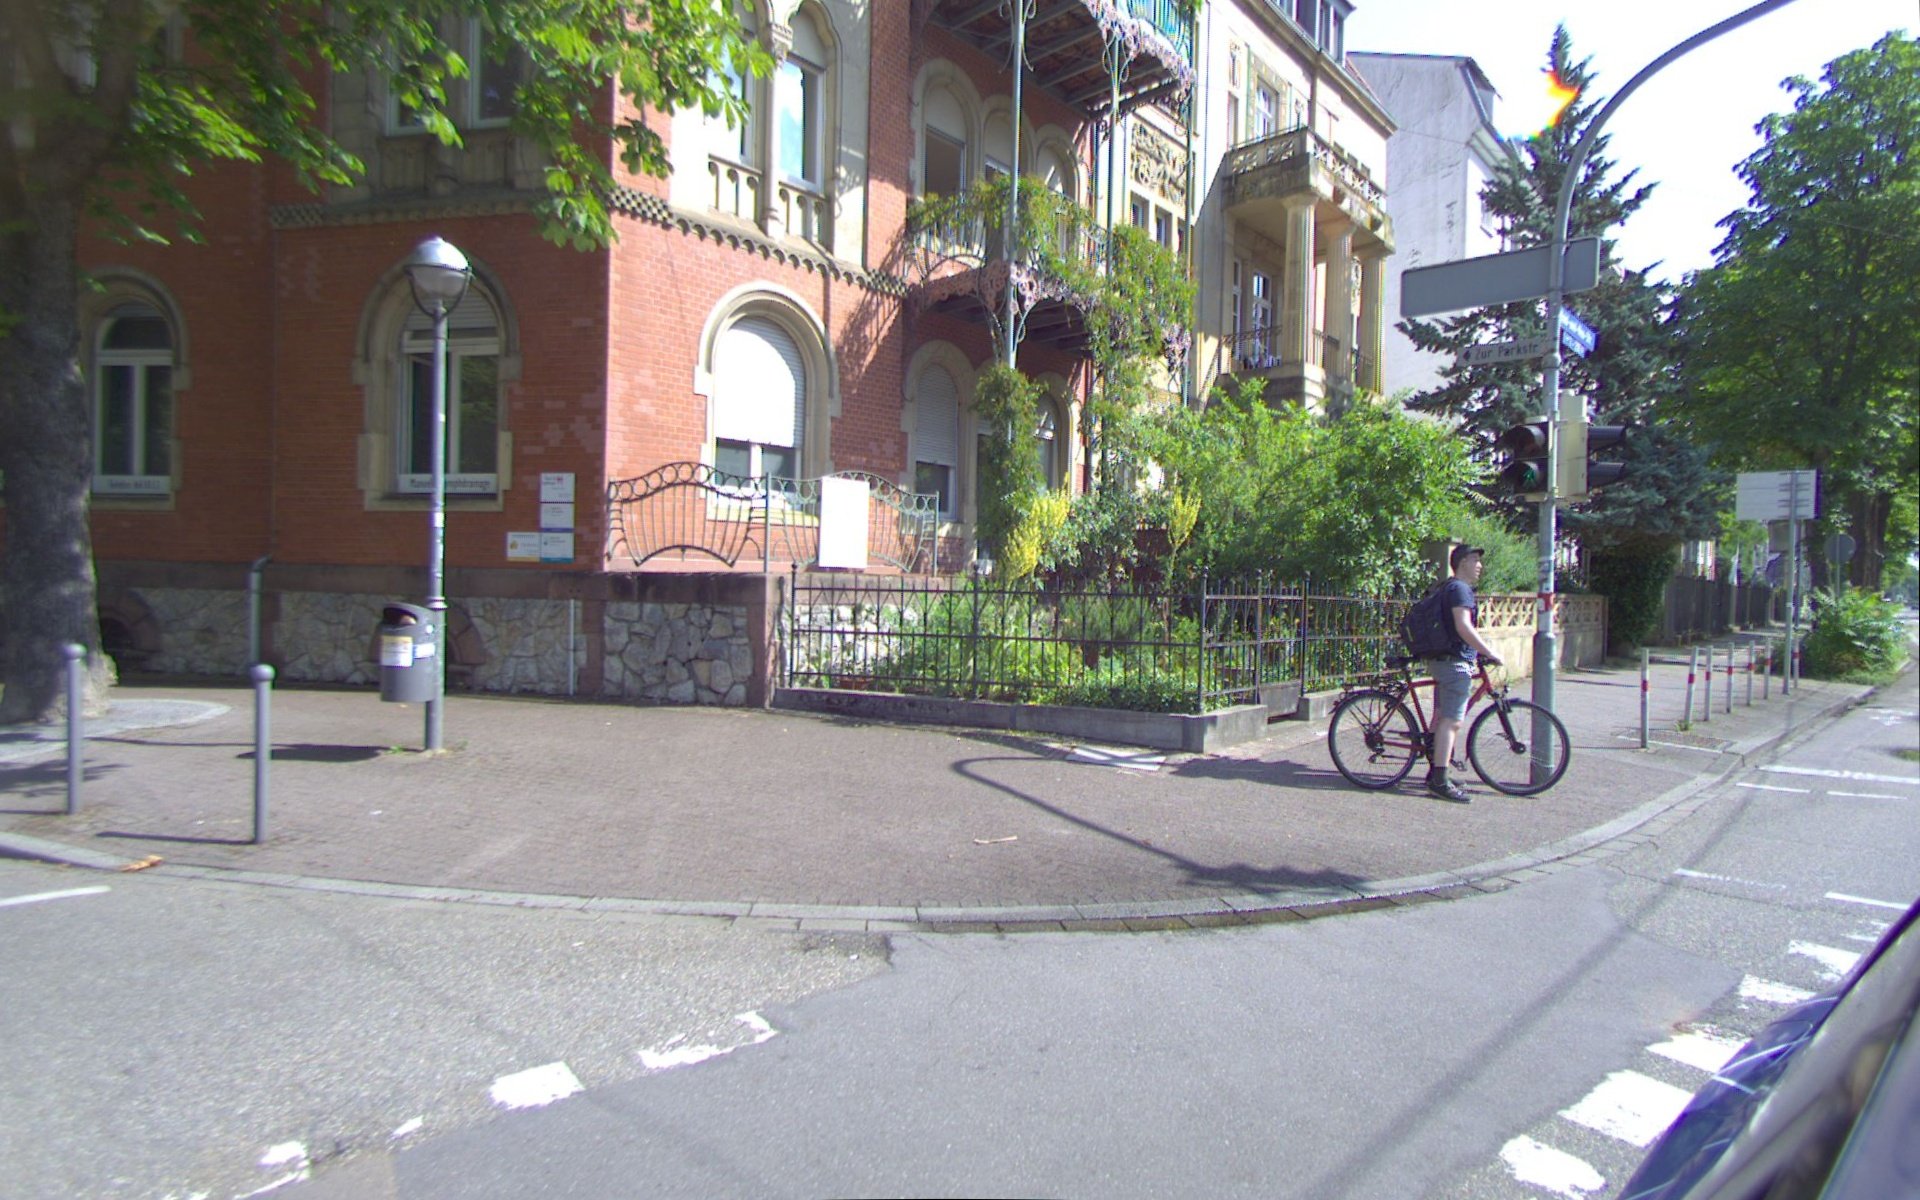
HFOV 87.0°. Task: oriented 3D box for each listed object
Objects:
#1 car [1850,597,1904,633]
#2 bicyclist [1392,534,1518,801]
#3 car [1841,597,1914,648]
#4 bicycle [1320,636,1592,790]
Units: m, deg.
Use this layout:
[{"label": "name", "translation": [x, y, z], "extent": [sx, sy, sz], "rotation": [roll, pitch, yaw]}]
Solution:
[{"label": "car", "translation": [42.203, 0.661, 46.564], "extent": [1.720, 1.469, 3.864], "rotation": [5, 3, 43]}, {"label": "bicyclist", "translation": [3.644, 0.454, 7.511], "extent": [0.726, 1.842, 0.815], "rotation": [1, 0, 21]}, {"label": "car", "translation": [30.000, 0.692, 33.121], "extent": [1.637, 1.473, 3.642], "rotation": [4, 3, 42]}, {"label": "bicycle", "translation": [3.659, 0.825, 7.517], "extent": [1.809, 1.048, 0.390], "rotation": [2, 0, -2]}]
